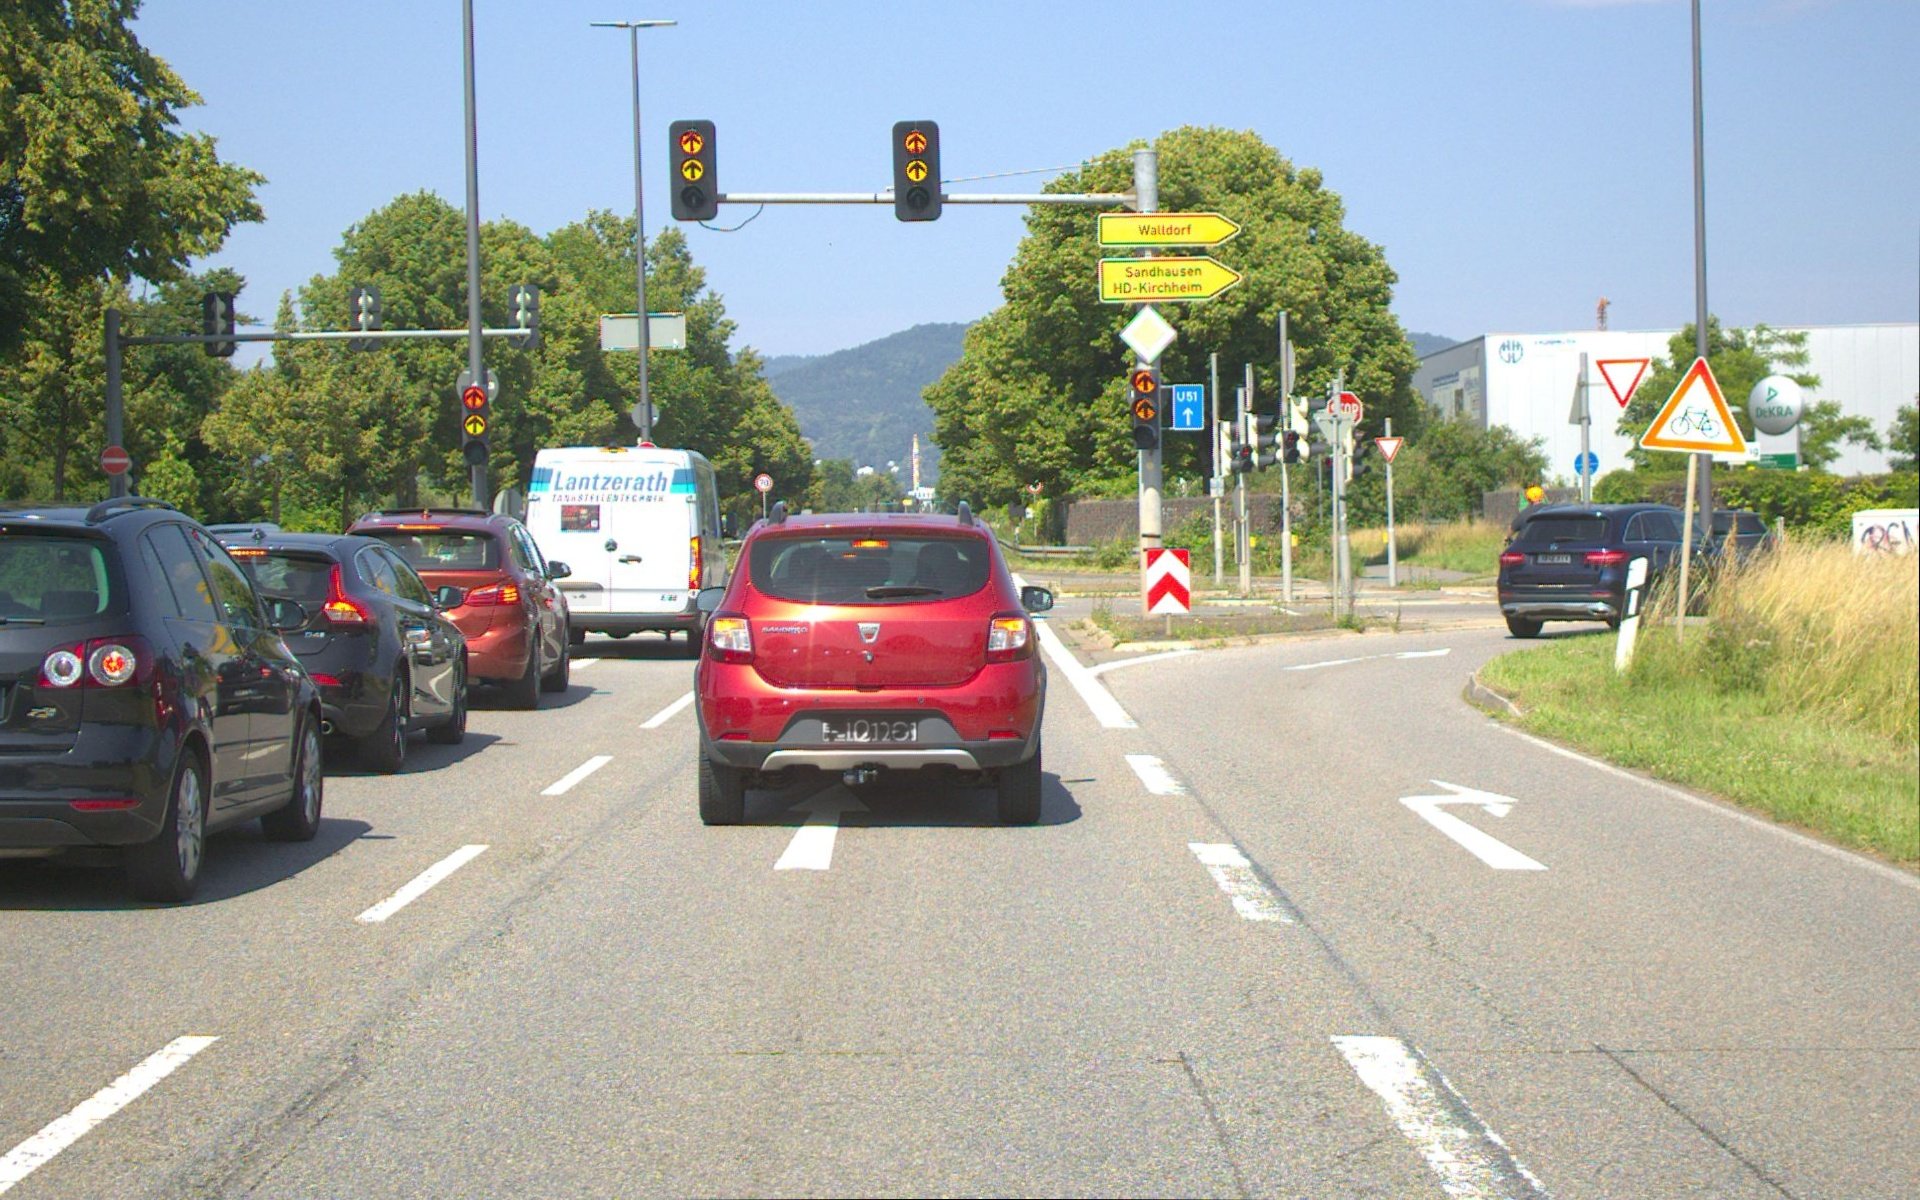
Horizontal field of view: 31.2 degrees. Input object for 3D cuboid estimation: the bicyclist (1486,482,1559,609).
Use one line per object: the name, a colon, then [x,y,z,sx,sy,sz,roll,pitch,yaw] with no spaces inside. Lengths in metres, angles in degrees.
bicyclist: [7.956,-0.780,48.652,0.802,1.765,0.809,-1,1,-7]

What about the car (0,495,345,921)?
car: [-3.854,0.343,14.708,1.723,1.570,3.893,1,2,0]

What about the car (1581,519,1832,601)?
car: [12.630,-0.682,58.355,3.988,1.322,1.806,0,2,7]

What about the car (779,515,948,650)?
car: [-1.063,-0.236,39.310,1.749,1.453,3.676,0,2,1]

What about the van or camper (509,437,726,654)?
van or camper: [-3.807,-0.639,38.991,2.179,2.295,4.827,0,1,-3]

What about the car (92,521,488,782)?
car: [-4.096,0.248,21.607,1.702,1.437,3.956,1,2,0]

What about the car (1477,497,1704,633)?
car: [7.975,-0.476,43.165,1.996,1.611,4.335,1,1,22]

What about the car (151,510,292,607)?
car: [-15.544,-0.907,72.646,1.993,1.924,5.017,-1,2,-2]

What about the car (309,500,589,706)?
car: [-4.176,-0.026,28.617,1.724,1.594,3.956,0,1,0]

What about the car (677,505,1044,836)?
car: [-0.438,0.289,18.238,1.749,1.570,3.676,0,1,1]
